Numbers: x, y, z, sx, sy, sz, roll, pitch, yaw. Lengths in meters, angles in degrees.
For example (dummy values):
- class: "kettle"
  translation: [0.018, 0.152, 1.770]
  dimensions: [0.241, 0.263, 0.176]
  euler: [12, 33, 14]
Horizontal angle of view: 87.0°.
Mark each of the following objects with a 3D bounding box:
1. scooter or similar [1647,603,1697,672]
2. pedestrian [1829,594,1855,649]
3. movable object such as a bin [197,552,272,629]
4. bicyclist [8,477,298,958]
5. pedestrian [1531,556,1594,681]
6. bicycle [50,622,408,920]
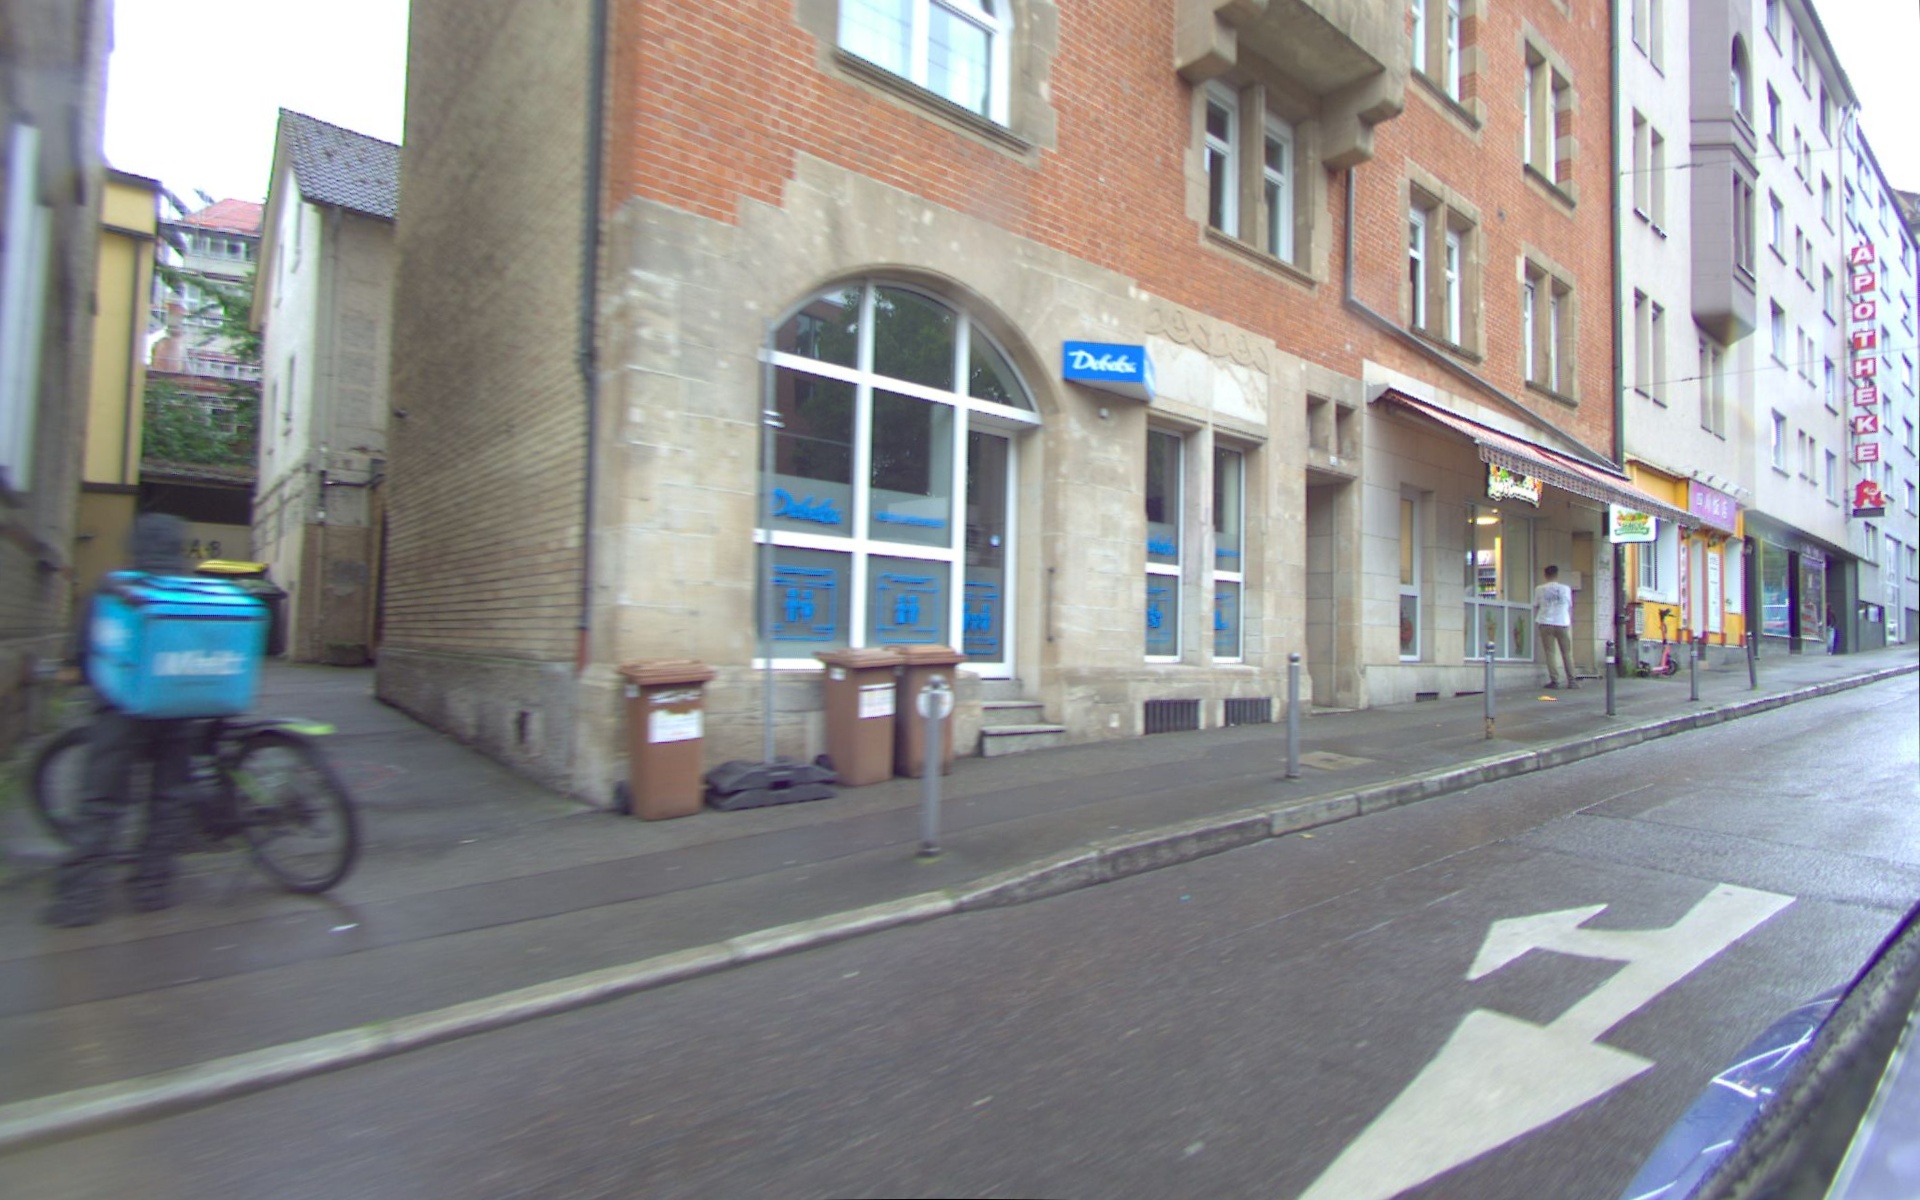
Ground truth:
- class: "scooter or similar"
  translation: [12.989, 0.682, 18.456]
  dimensions: [1.171, 1.238, 0.258]
  euler: [1, -2, -31]
- class: "pedestrian"
  translation: [27.164, 0.657, 31.174]
  dimensions: [0.477, 1.666, 0.328]
  euler: [-2, -2, 28]
- class: "movable object such as a bin"
  translation: [-14.013, -0.197, 19.592]
  dimensions: [1.088, 1.386, 1.494]
  euler: [0, 3, -33]
- class: "bicyclist"
  translation: [-3.189, 0.404, 4.013]
  dimensions: [0.842, 1.678, 0.625]
  euler: [0, 0, 28]
- class: "pedestrian"
  translation: [9.171, 0.268, 15.419]
  dimensions: [0.569, 1.853, 0.563]
  euler: [1, 2, 7]
- class: "bicycle"
  translation: [-3.262, 0.684, 4.497]
  dimensions: [1.668, 1.129, 0.461]
  euler: [0, 0, 21]
